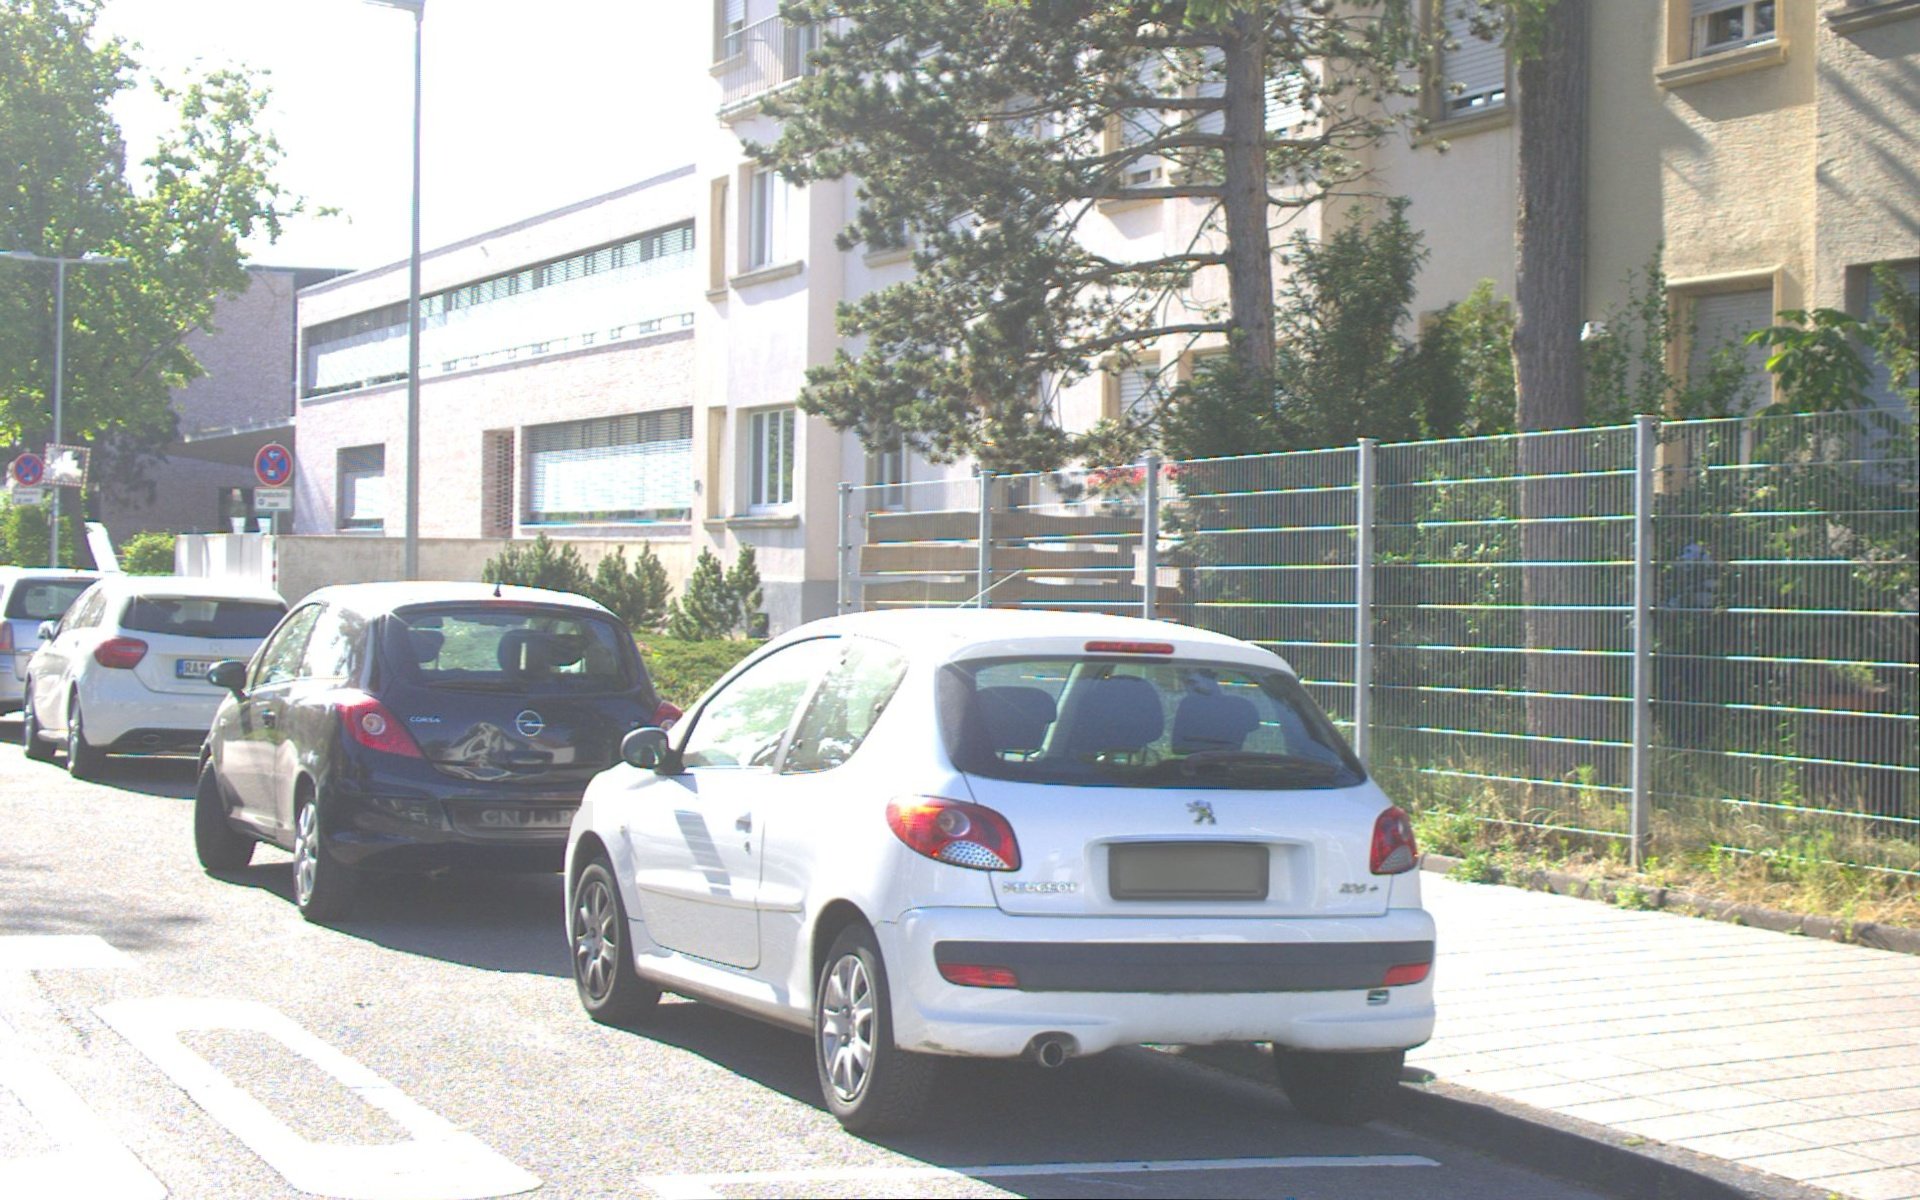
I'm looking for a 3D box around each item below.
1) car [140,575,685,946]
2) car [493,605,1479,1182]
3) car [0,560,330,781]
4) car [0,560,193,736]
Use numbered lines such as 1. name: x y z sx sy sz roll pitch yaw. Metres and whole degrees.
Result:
1. car: -2.680 0.663 16.110 1.671 1.489 3.827 2 0 -22
2. car: -0.123 0.761 10.708 1.701 1.393 3.777 2 0 -22
3. car: -6.032 0.480 25.721 1.795 1.489 4.001 2 0 -22
4. car: -8.413 0.394 31.385 1.795 1.489 4.001 2 0 -27
